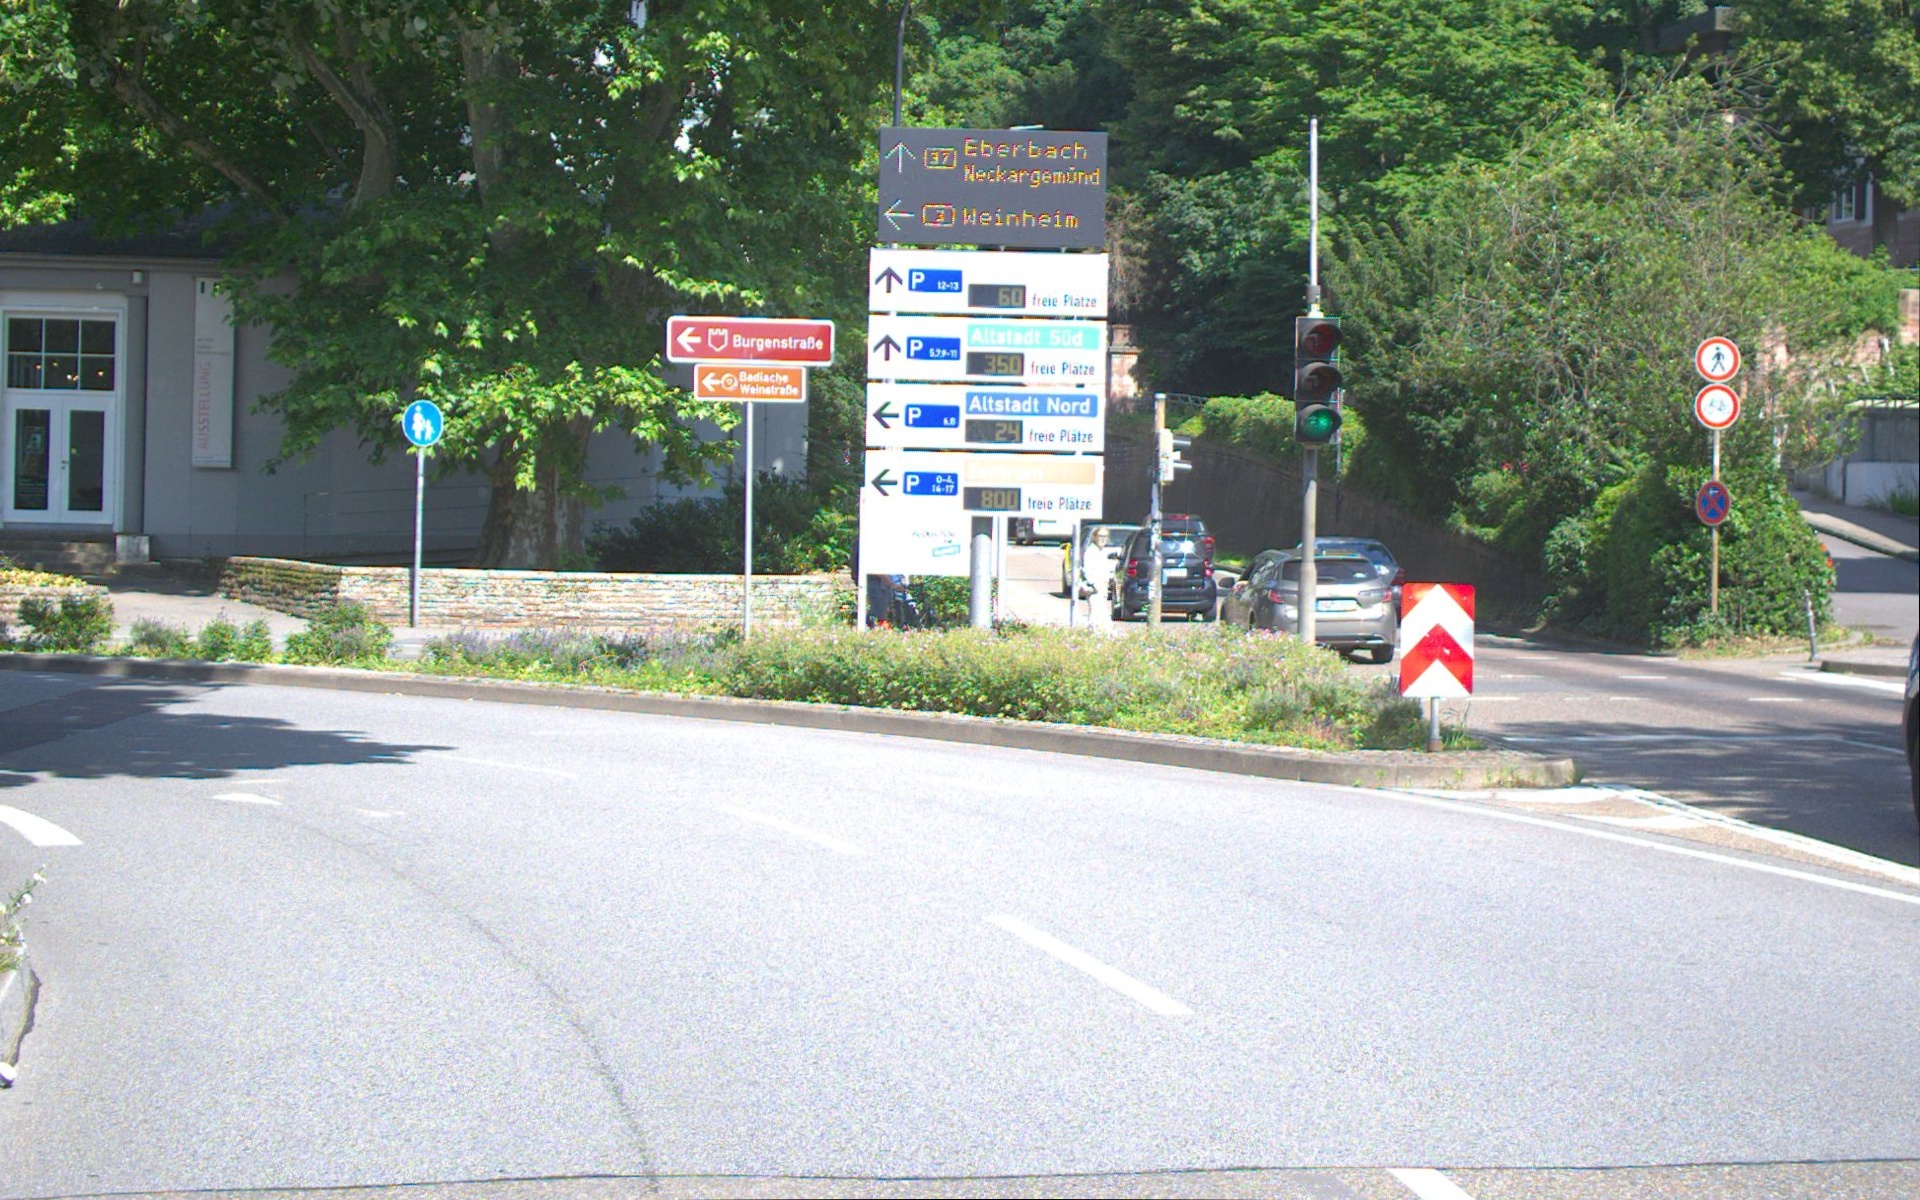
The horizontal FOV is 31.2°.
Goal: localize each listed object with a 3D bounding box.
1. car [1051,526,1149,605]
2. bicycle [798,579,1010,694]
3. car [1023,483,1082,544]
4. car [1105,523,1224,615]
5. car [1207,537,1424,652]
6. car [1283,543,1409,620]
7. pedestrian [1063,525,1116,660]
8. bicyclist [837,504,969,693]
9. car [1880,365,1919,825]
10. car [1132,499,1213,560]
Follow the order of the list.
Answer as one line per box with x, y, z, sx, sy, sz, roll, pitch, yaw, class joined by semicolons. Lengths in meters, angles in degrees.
2.749;-0.705;68.309;1.756;1.456;3.646;2;1;0;car
-0.592;0.370;36.011;2.079;1.109;0.756;2;1;25;bicycle
3.008;-2.832;112.401;1.756;1.931;3.494;2;1;0;car
3.431;-0.552;58.111;1.756;1.456;3.494;2;1;0;car
4.500;-0.095;44.079;1.755;1.329;3.803;1;1;-10;car
6.646;-0.336;59.490;1.756;1.209;3.494;2;1;0;car
1.579;-0.092;41.752;0.547;1.615;0.634;1;2;10;pedestrian
-0.596;-0.025;35.997;1.127;1.926;0.747;2;1;25;bicyclist
6.322;0.029;16.855;2.073;2.500;4.930;2;1;-2;car
5.289;-1.773;86.058;1.756;1.456;3.646;2;1;0;car
